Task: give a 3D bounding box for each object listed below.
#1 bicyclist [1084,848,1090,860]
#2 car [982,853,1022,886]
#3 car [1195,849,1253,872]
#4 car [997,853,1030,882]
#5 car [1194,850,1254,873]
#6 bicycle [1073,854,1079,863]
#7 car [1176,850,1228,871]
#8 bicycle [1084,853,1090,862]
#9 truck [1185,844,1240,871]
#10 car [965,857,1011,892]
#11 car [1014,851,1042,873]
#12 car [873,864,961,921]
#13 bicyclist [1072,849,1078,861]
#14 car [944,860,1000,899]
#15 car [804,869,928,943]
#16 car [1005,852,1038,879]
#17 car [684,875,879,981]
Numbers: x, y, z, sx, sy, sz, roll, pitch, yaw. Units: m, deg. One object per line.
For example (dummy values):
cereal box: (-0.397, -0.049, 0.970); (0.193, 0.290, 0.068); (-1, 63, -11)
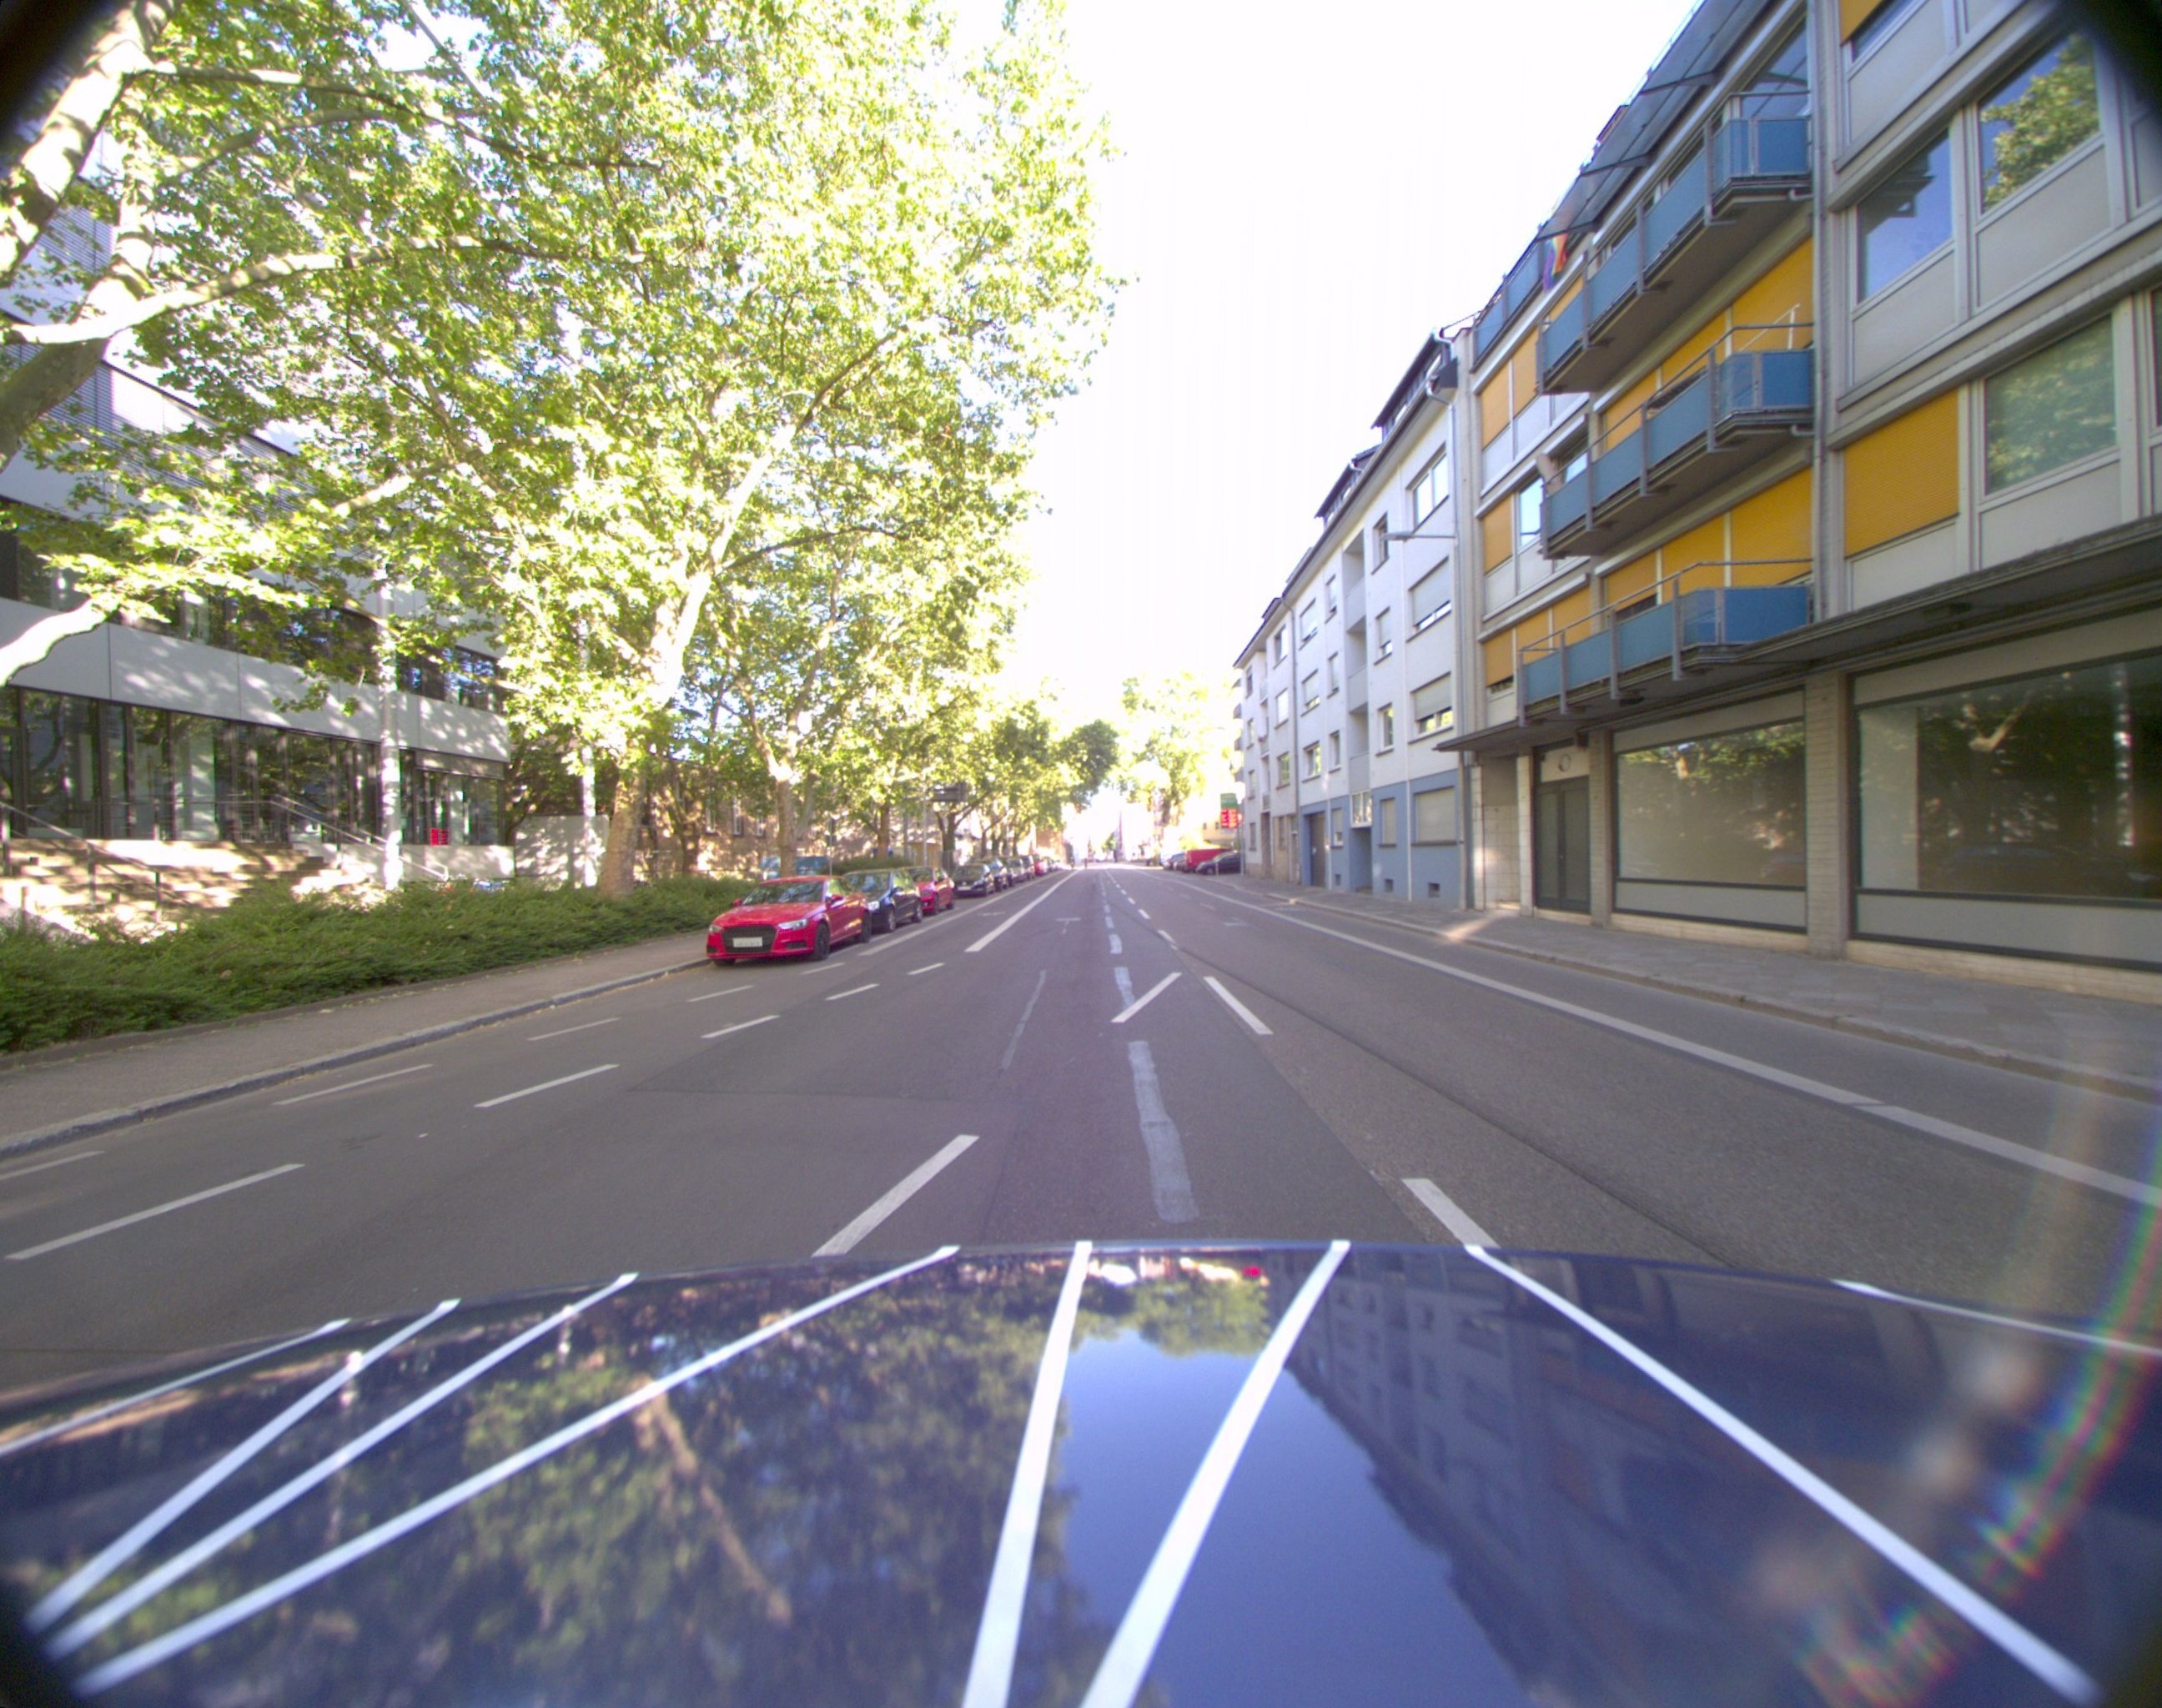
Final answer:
bicyclist: (0.786, 0.012, 102.662); (0.718, 1.573, 0.936); (-2, 1, 1)
car: (-4.528, 0.868, 44.144); (1.790, 1.745, 4.345); (-3, 0, 0)
car: (10.723, 0.478, 57.139); (3.996, 1.494, 1.761); (-2, 1, 2)
car: (-4.451, 0.851, 50.700); (1.790, 1.745, 4.552); (-3, 0, 0)
car: (10.249, 0.545, 54.792); (3.996, 1.449, 1.761); (-2, 1, 2)
bicycle: (-0.719, 0.576, 101.475); (0.717, 1.052, 2.485); (-2, 1, 1)
car: (9.973, 0.525, 62.841); (3.996, 1.494, 1.761); (-2, 1, 2)
bicycle: (0.808, 0.471, 102.765); (0.717, 1.052, 2.485); (-2, 1, 1)
truck: (10.363, 0.244, 59.988); (3.996, 1.925, 1.761); (-2, 1, 2)
car: (-4.605, 0.977, 38.128); (1.790, 1.544, 4.163); (-3, 0, 0)
car: (-4.597, 0.697, 66.089); (2.042, 1.745, 4.552); (-3, 0, 0)
car: (-5.033, 1.124, 23.855); (1.818, 1.475, 4.163); (-3, 0, 0)
bicyclist: (-0.748, 0.084, 101.471); (0.718, 1.573, 0.936); (-2, 1, 1)
car: (-4.706, 1.077, 33.382); (1.790, 1.451, 4.163); (-3, 0, 0)
car: (-5.086, 1.170, 18.572); (1.818, 1.405, 4.163); (-3, 0, 0)
car: (-4.322, 0.795, 55.658); (2.042, 1.745, 4.552); (-3, 0, 0)
car: (-5.141, 1.193, 13.716); (1.818, 1.405, 4.163); (-3, 0, 0)
